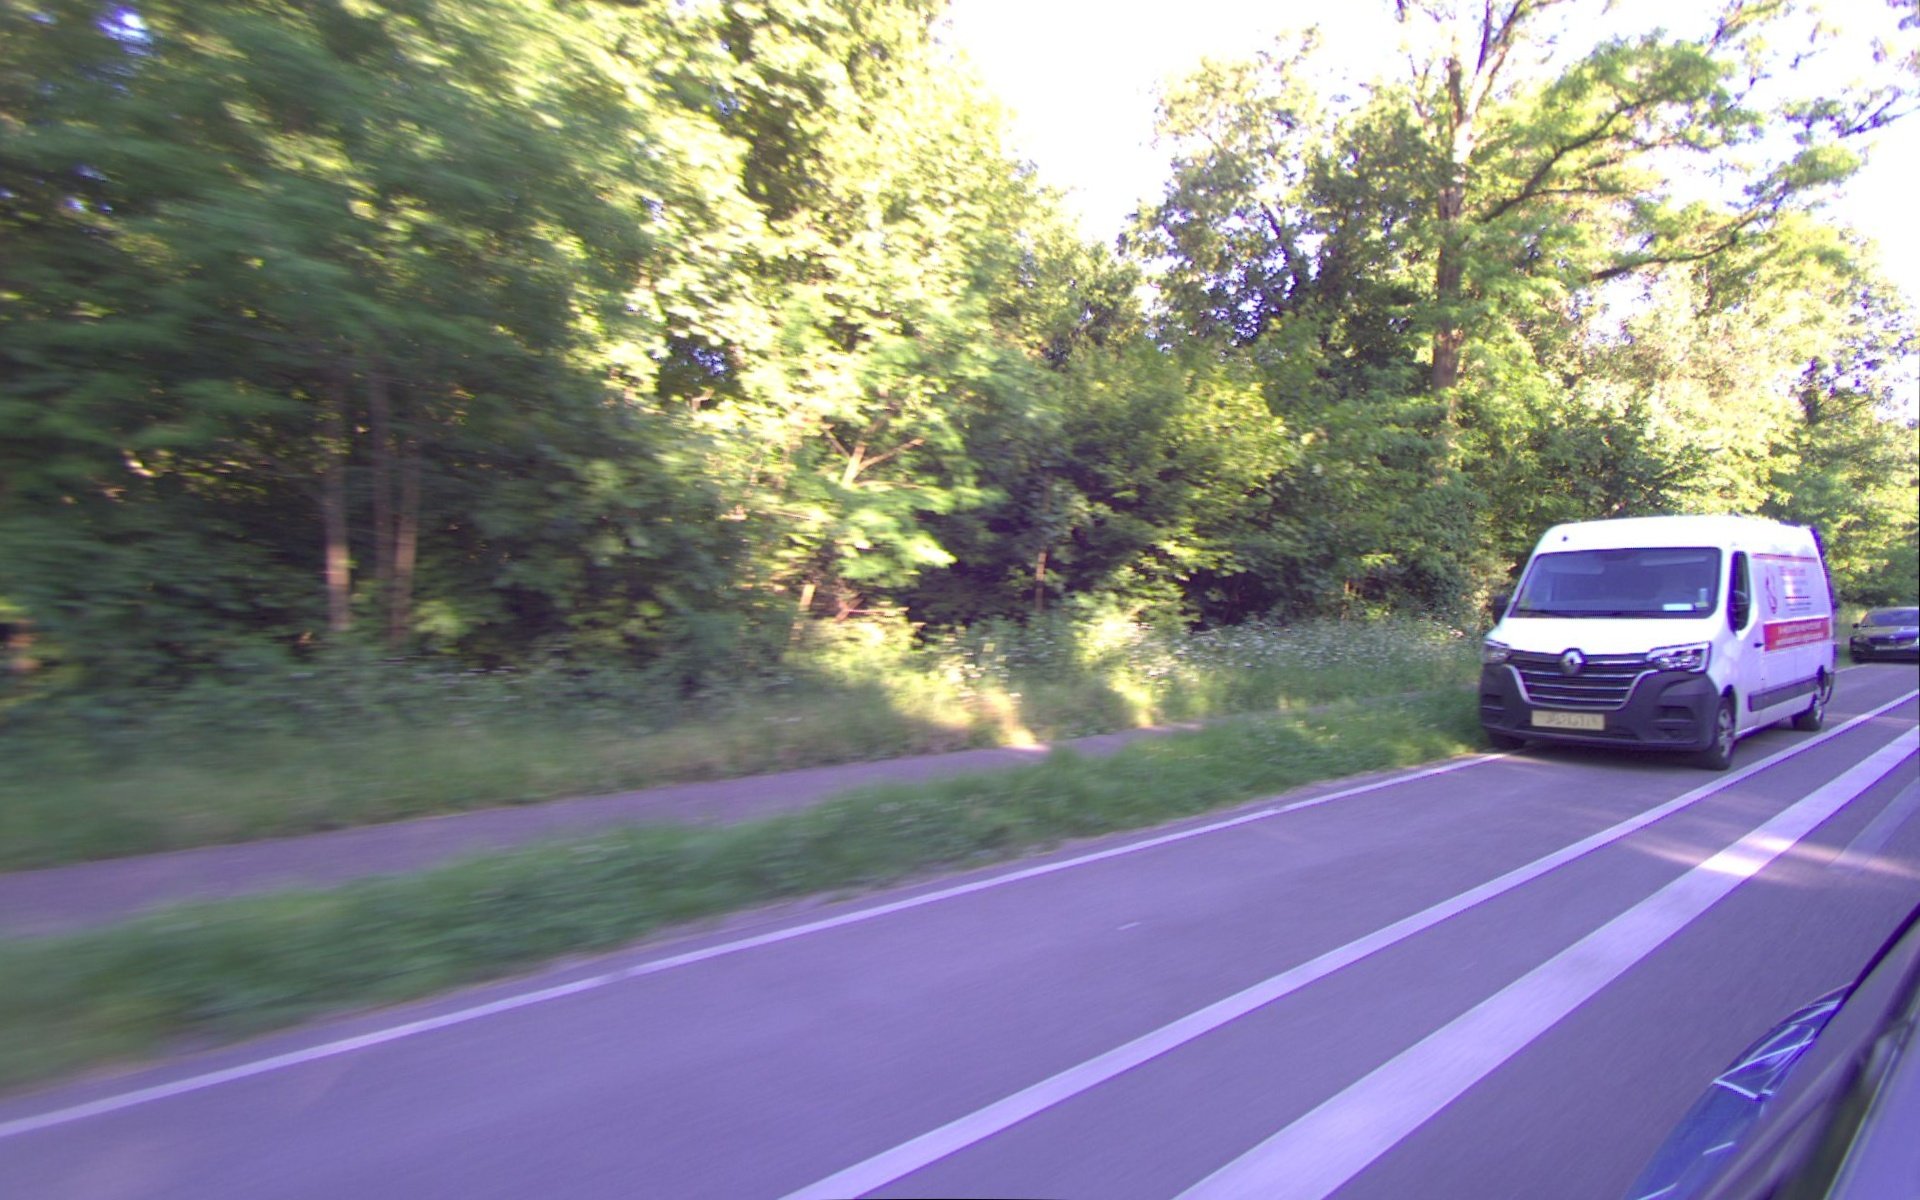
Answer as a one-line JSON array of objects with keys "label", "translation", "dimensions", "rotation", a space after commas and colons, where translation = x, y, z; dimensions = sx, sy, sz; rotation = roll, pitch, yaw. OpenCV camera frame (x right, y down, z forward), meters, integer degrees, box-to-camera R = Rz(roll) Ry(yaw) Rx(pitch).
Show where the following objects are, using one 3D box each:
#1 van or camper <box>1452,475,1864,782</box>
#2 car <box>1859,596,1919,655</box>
[{"label": "van or camper", "translation": [7.903, 0.205, 11.114], "dimensions": [6.192, 2.514, 2.130], "rotation": [0, 1, -40]}, {"label": "car", "translation": [24.912, 0.635, 26.342], "dimensions": [4.520, 1.439, 1.835], "rotation": [0, -2, -44]}]
